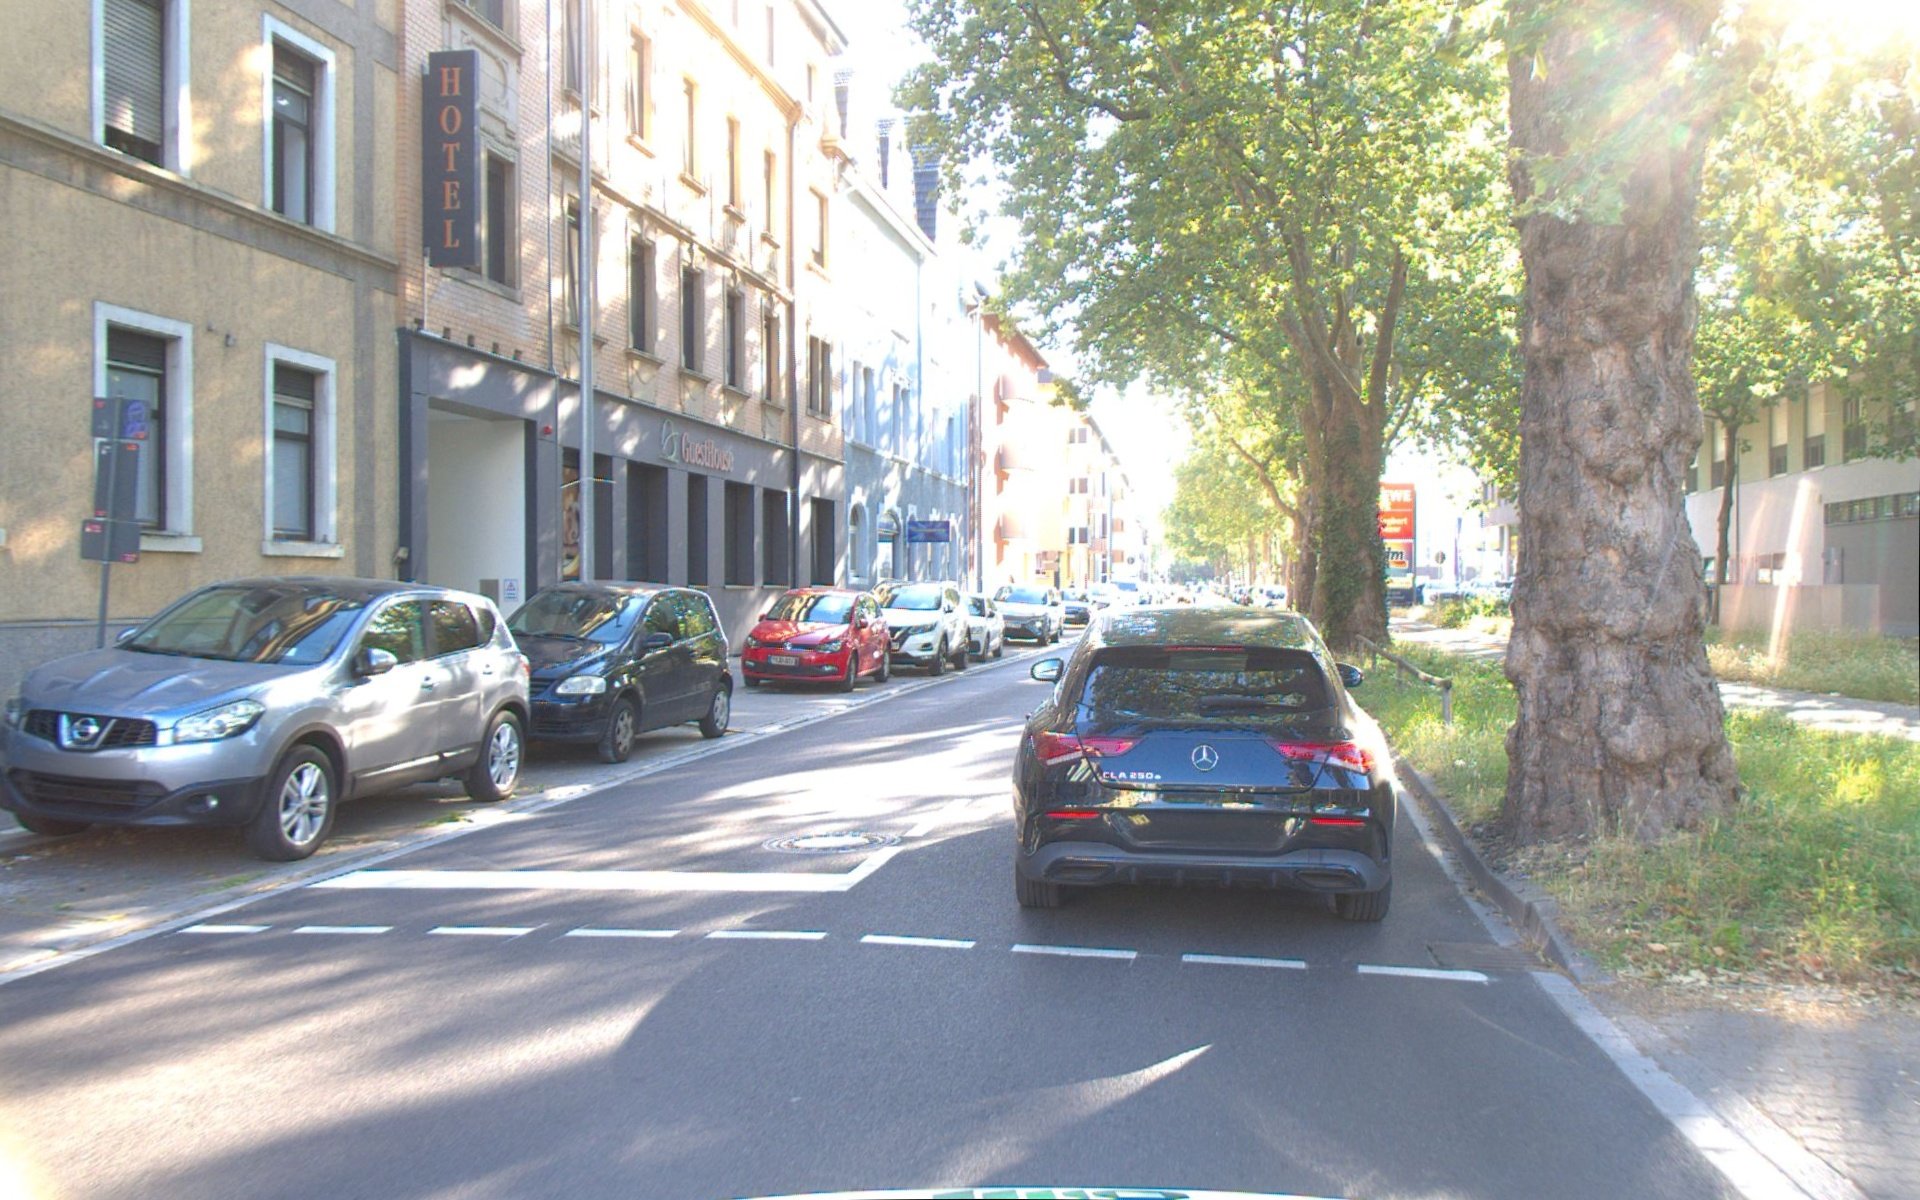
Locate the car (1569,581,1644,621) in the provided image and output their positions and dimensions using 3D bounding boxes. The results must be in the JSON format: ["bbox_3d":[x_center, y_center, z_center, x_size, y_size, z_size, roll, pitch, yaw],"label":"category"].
[{"bbox_3d":[25.425,0.023,65.192,1.819,1.494,4.127,0,0,7],"label":"car"}]

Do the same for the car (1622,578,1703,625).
[{"bbox_3d":[24.792,0.042,58.489,1.819,1.580,3.763,0,0,9],"label":"car"}]

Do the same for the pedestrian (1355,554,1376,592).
[{"bbox_3d":[19.147,-1.277,78.152,0.752,1.792,0.663,-2,0,-2],"label":"pedestrian"}]

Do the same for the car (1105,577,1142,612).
[{"bbox_3d":[9.469,-0.357,95.505,1.697,1.940,5.213,1,1,10],"label":"car"}]

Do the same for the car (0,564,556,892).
[{"bbox_3d":[-4.383,0.651,10.939,1.743,1.702,4.160,1,1,10],"label":"car"}]

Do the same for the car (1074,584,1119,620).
[{"bbox_3d":[6.260,0.059,75.599,1.642,1.550,4.024,1,1,10],"label":"car"}]

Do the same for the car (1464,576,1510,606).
[{"bbox_3d":[31.461,-0.547,98.882,1.836,1.764,4.184,0,0,6],"label":"car"}]

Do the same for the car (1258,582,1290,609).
[{"bbox_3d":[18.603,-0.258,98.222,1.600,1.493,4.024,-2,0,7],"label":"car"}]

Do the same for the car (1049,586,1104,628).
[{"bbox_3d":[4.420,0.231,62.510,1.642,1.512,3.604,1,1,10],"label":"car"}]

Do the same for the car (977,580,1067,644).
[{"bbox_3d":[1.813,0.304,46.767,1.867,1.670,4.581,1,1,10],"label":"car"}]

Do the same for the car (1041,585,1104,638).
[{"bbox_3d":[3.819,0.341,55.594,1.642,1.670,3.988,1,1,10],"label":"car"}]

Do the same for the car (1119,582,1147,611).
[{"bbox_3d":[11.369,-0.249,108.550,1.708,1.819,4.553,1,1,7],"label":"car"}]

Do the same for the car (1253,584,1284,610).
[{"bbox_3d":[19.549,-0.182,104.995,1.772,1.565,4.587,-3,-1,9],"label":"car"}]

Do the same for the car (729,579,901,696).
[{"bbox_3d":[-2.125,0.509,25.284,1.642,1.620,3.760,1,1,10],"label":"car"}]

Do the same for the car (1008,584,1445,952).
[{"bbox_3d":[1.162,0.678,8.845,1.708,1.468,3.969,1,1,0],"label":"car"}]

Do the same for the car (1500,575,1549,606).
[{"bbox_3d":[33.721,-0.573,98.882,1.943,1.764,4.184,0,0,6],"label":"car"}]

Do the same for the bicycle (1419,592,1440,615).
[{"bbox_3d":[21.511,0.159,75.787,0.375,1.021,1.484,-1,0,-7],"label":"bicycle"}]

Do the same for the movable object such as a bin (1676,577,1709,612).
[{"bbox_3d":[30.941,-0.238,69.892,1.168,1.488,1.407,0,0,21],"label":"movable object such as a bin"}]

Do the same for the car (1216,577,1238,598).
[{"bbox_3d":[27.544,-1.280,170.720,1.951,2.049,4.002,0,-1,5],"label":"car"}]

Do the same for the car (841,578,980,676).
[{"bbox_3d":[-0.825,0.427,30.021,1.642,1.612,4.204,1,1,10],"label":"car"}]

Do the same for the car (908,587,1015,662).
[{"bbox_3d":[0.090,0.491,36.449,1.642,1.522,3.875,1,1,10],"label":"car"}]

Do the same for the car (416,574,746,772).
[{"bbox_3d":[-3.482,0.594,15.904,1.642,1.633,3.709,1,1,12],"label":"car"}]
